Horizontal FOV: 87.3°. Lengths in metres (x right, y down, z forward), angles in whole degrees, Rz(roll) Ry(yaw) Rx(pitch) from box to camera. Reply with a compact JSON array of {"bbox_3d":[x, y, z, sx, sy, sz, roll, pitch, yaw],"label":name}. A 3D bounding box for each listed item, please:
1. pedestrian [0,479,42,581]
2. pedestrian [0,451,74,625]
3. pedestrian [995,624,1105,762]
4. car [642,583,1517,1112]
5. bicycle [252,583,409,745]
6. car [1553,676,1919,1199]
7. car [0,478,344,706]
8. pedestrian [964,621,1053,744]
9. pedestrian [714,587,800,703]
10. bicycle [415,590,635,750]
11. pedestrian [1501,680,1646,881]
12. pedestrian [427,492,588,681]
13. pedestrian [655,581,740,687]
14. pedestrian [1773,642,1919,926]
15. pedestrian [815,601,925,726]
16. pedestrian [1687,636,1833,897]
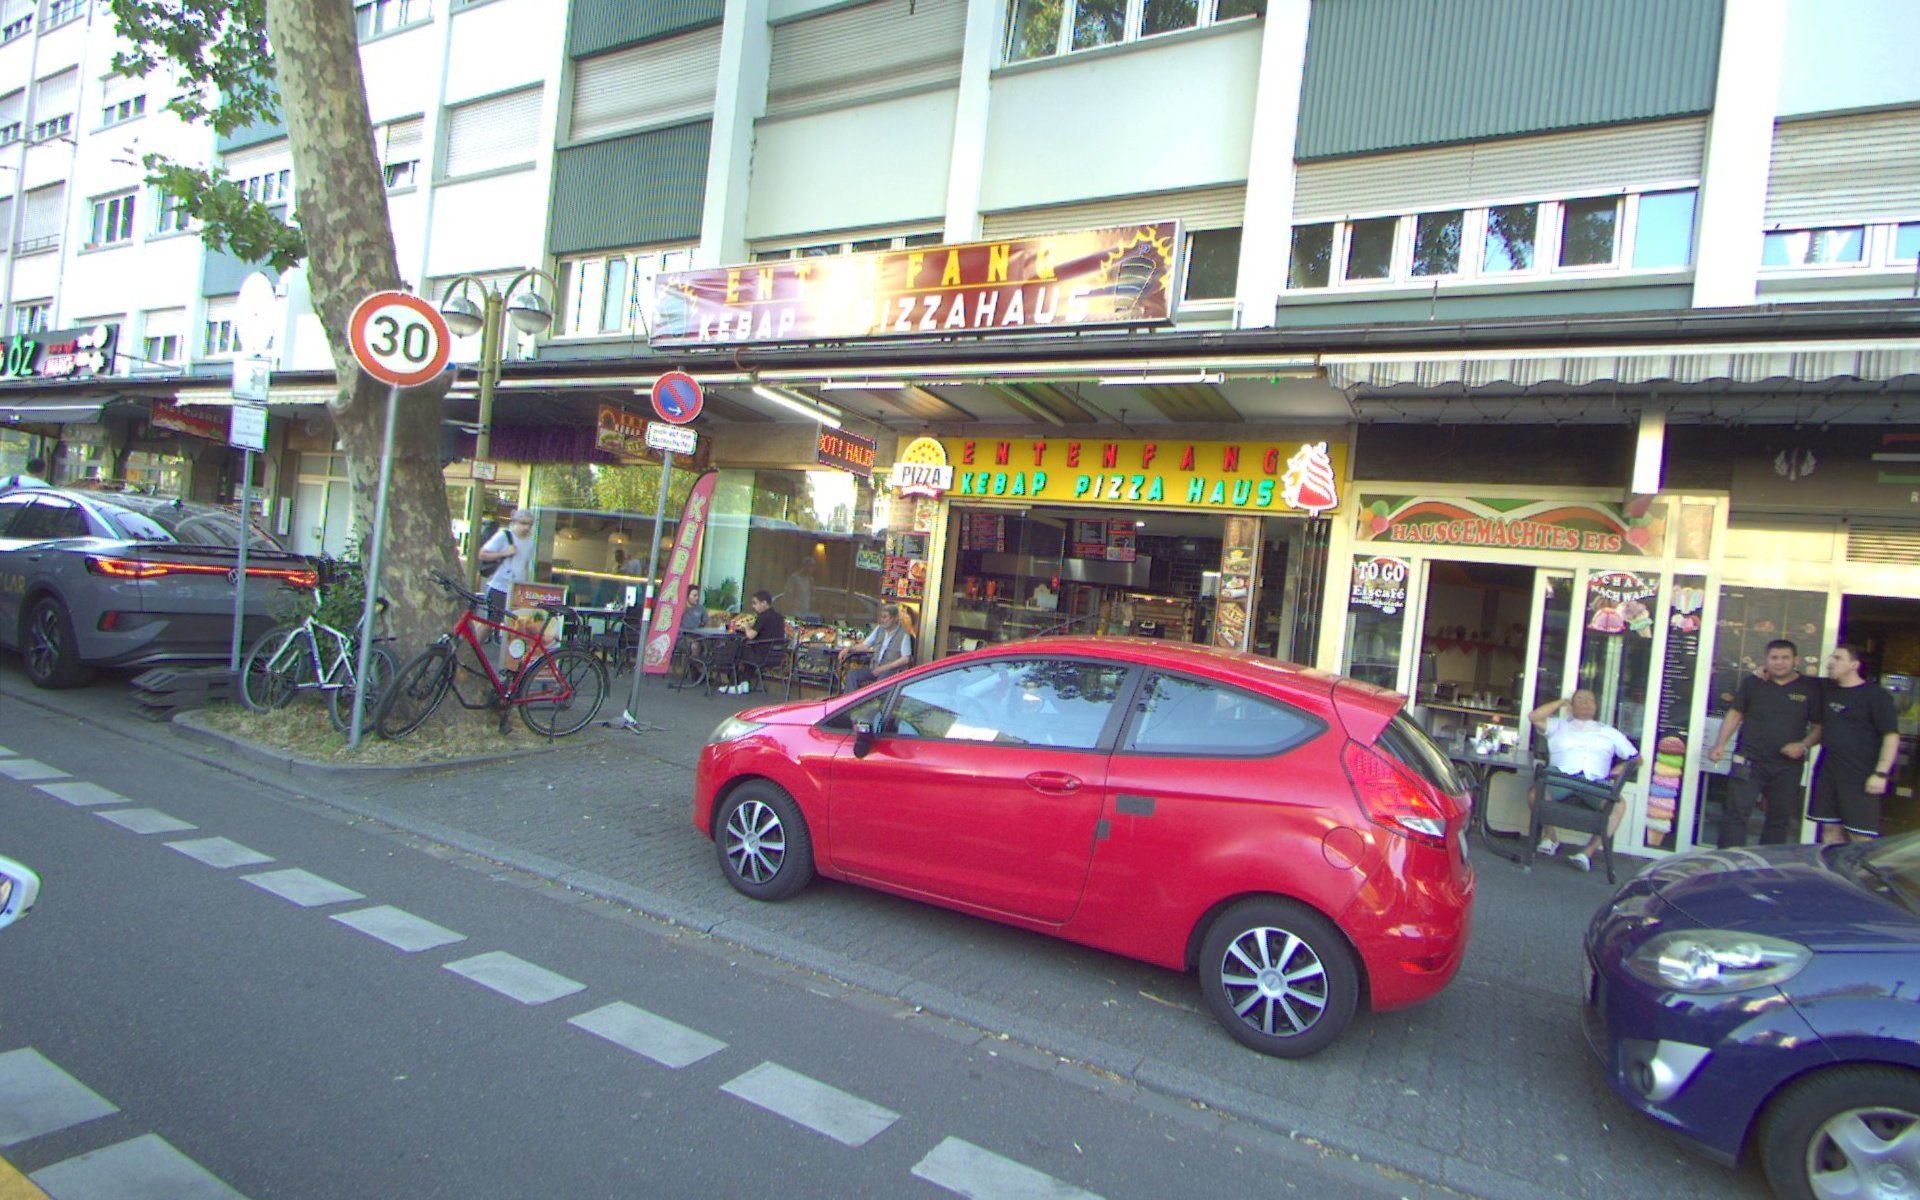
[{"bbox_3d":[-19.736,-1.454,20.925,0.684,2.038,0.613,7,1,29],"label":"pedestrian"},{"bbox_3d":[-11.495,-0.748,12.252,0.701,2.040,0.770,6,2,28],"label":"pedestrian"},{"bbox_3d":[0.843,0.842,9.406,0.740,1.172,0.593,6,3,33],"label":"pedestrian"},{"bbox_3d":[0.488,0.848,4.988,3.780,1.448,1.668,7,2,27],"label":"car"},{"bbox_3d":[-4.434,0.428,7.073,1.110,0.941,0.295,9,6,21],"label":"bicycle"},{"bbox_3d":[3.882,1.225,2.898,3.543,1.485,1.620,7,2,29],"label":"car"},{"bbox_3d":[-7.830,-0.200,9.207,4.223,1.619,1.742,7,2,27],"label":"car"},{"bbox_3d":[0.503,0.829,10.376,0.585,1.172,0.671,6,3,31],"label":"pedestrian"},{"bbox_3d":[-2.380,0.514,11.792,0.701,1.260,0.614,7,3,41],"label":"pedestrian"},{"bbox_3d":[-3.222,0.508,7.552,0.291,1.082,1.455,12,7,42],"label":"bicycle"},{"bbox_3d":[4.647,1.299,7.617,0.767,1.249,1.202,6,3,33],"label":"pedestrian"},{"bbox_3d":[-4.978,-0.132,11.094,1.104,1.913,1.023,6,0,31],"label":"pedestrian"},{"bbox_3d":[-3.225,0.412,12.355,0.694,1.220,0.675,7,3,42],"label":"pedestrian"},{"bbox_3d":[6.183,1.215,6.939,0.636,1.783,0.610,8,3,34],"label":"pedestrian"},{"bbox_3d":[-0.968,0.666,10.860,0.861,1.237,0.688,2,3,-44],"label":"pedestrian"},{"bbox_3d":[5.828,1.175,7.371,0.588,1.759,0.587,8,3,33],"label":"pedestrian"}]
